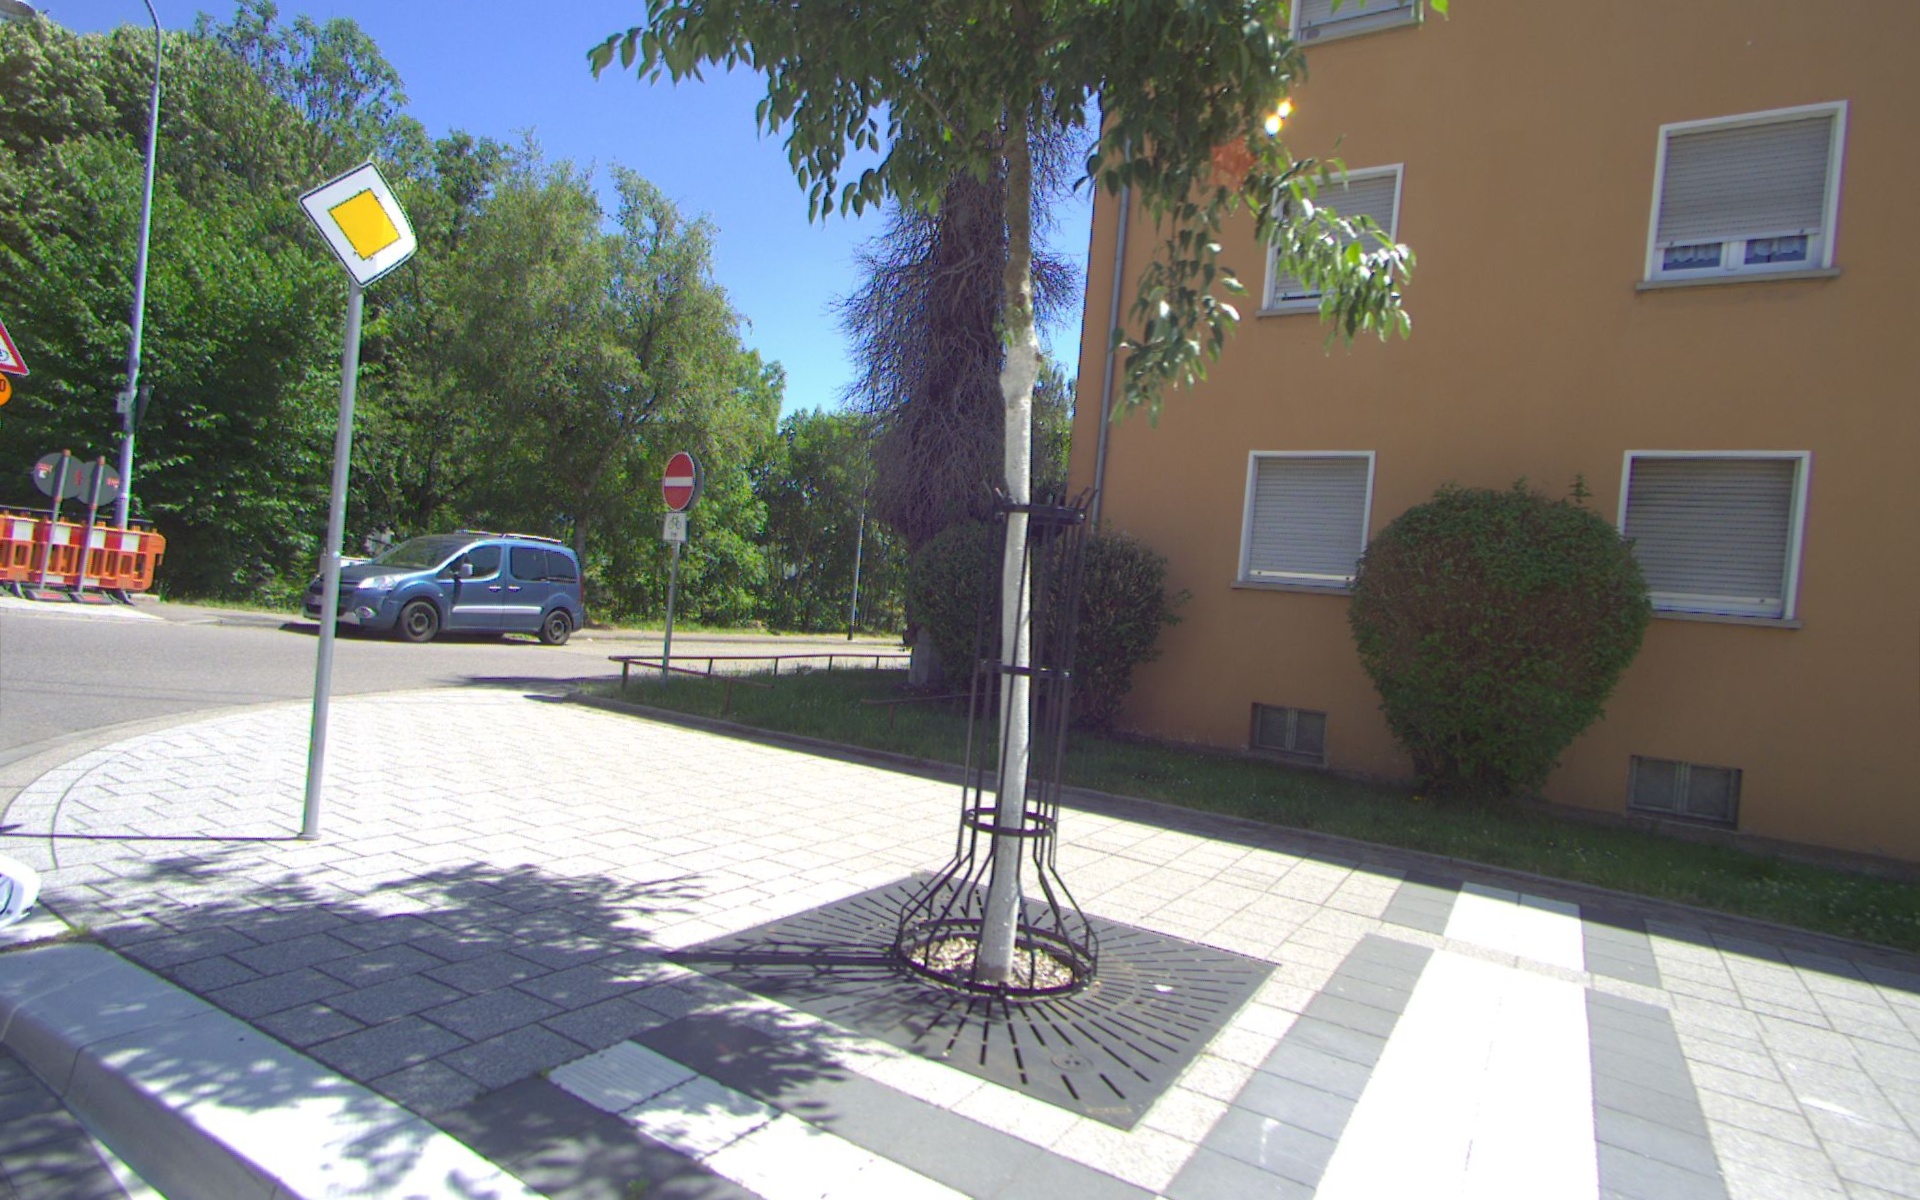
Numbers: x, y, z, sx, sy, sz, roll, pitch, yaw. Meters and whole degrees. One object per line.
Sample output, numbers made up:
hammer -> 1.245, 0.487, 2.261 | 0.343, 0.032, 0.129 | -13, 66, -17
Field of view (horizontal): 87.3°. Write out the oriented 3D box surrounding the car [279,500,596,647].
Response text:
car -> -8.237, -0.316, 16.368 | 1.718, 1.860, 4.351 | 5, -2, 23

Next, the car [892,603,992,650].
car -> -0.532, 0.963, 35.145 | 1.729, 1.440, 4.510 | 3, -1, 23
